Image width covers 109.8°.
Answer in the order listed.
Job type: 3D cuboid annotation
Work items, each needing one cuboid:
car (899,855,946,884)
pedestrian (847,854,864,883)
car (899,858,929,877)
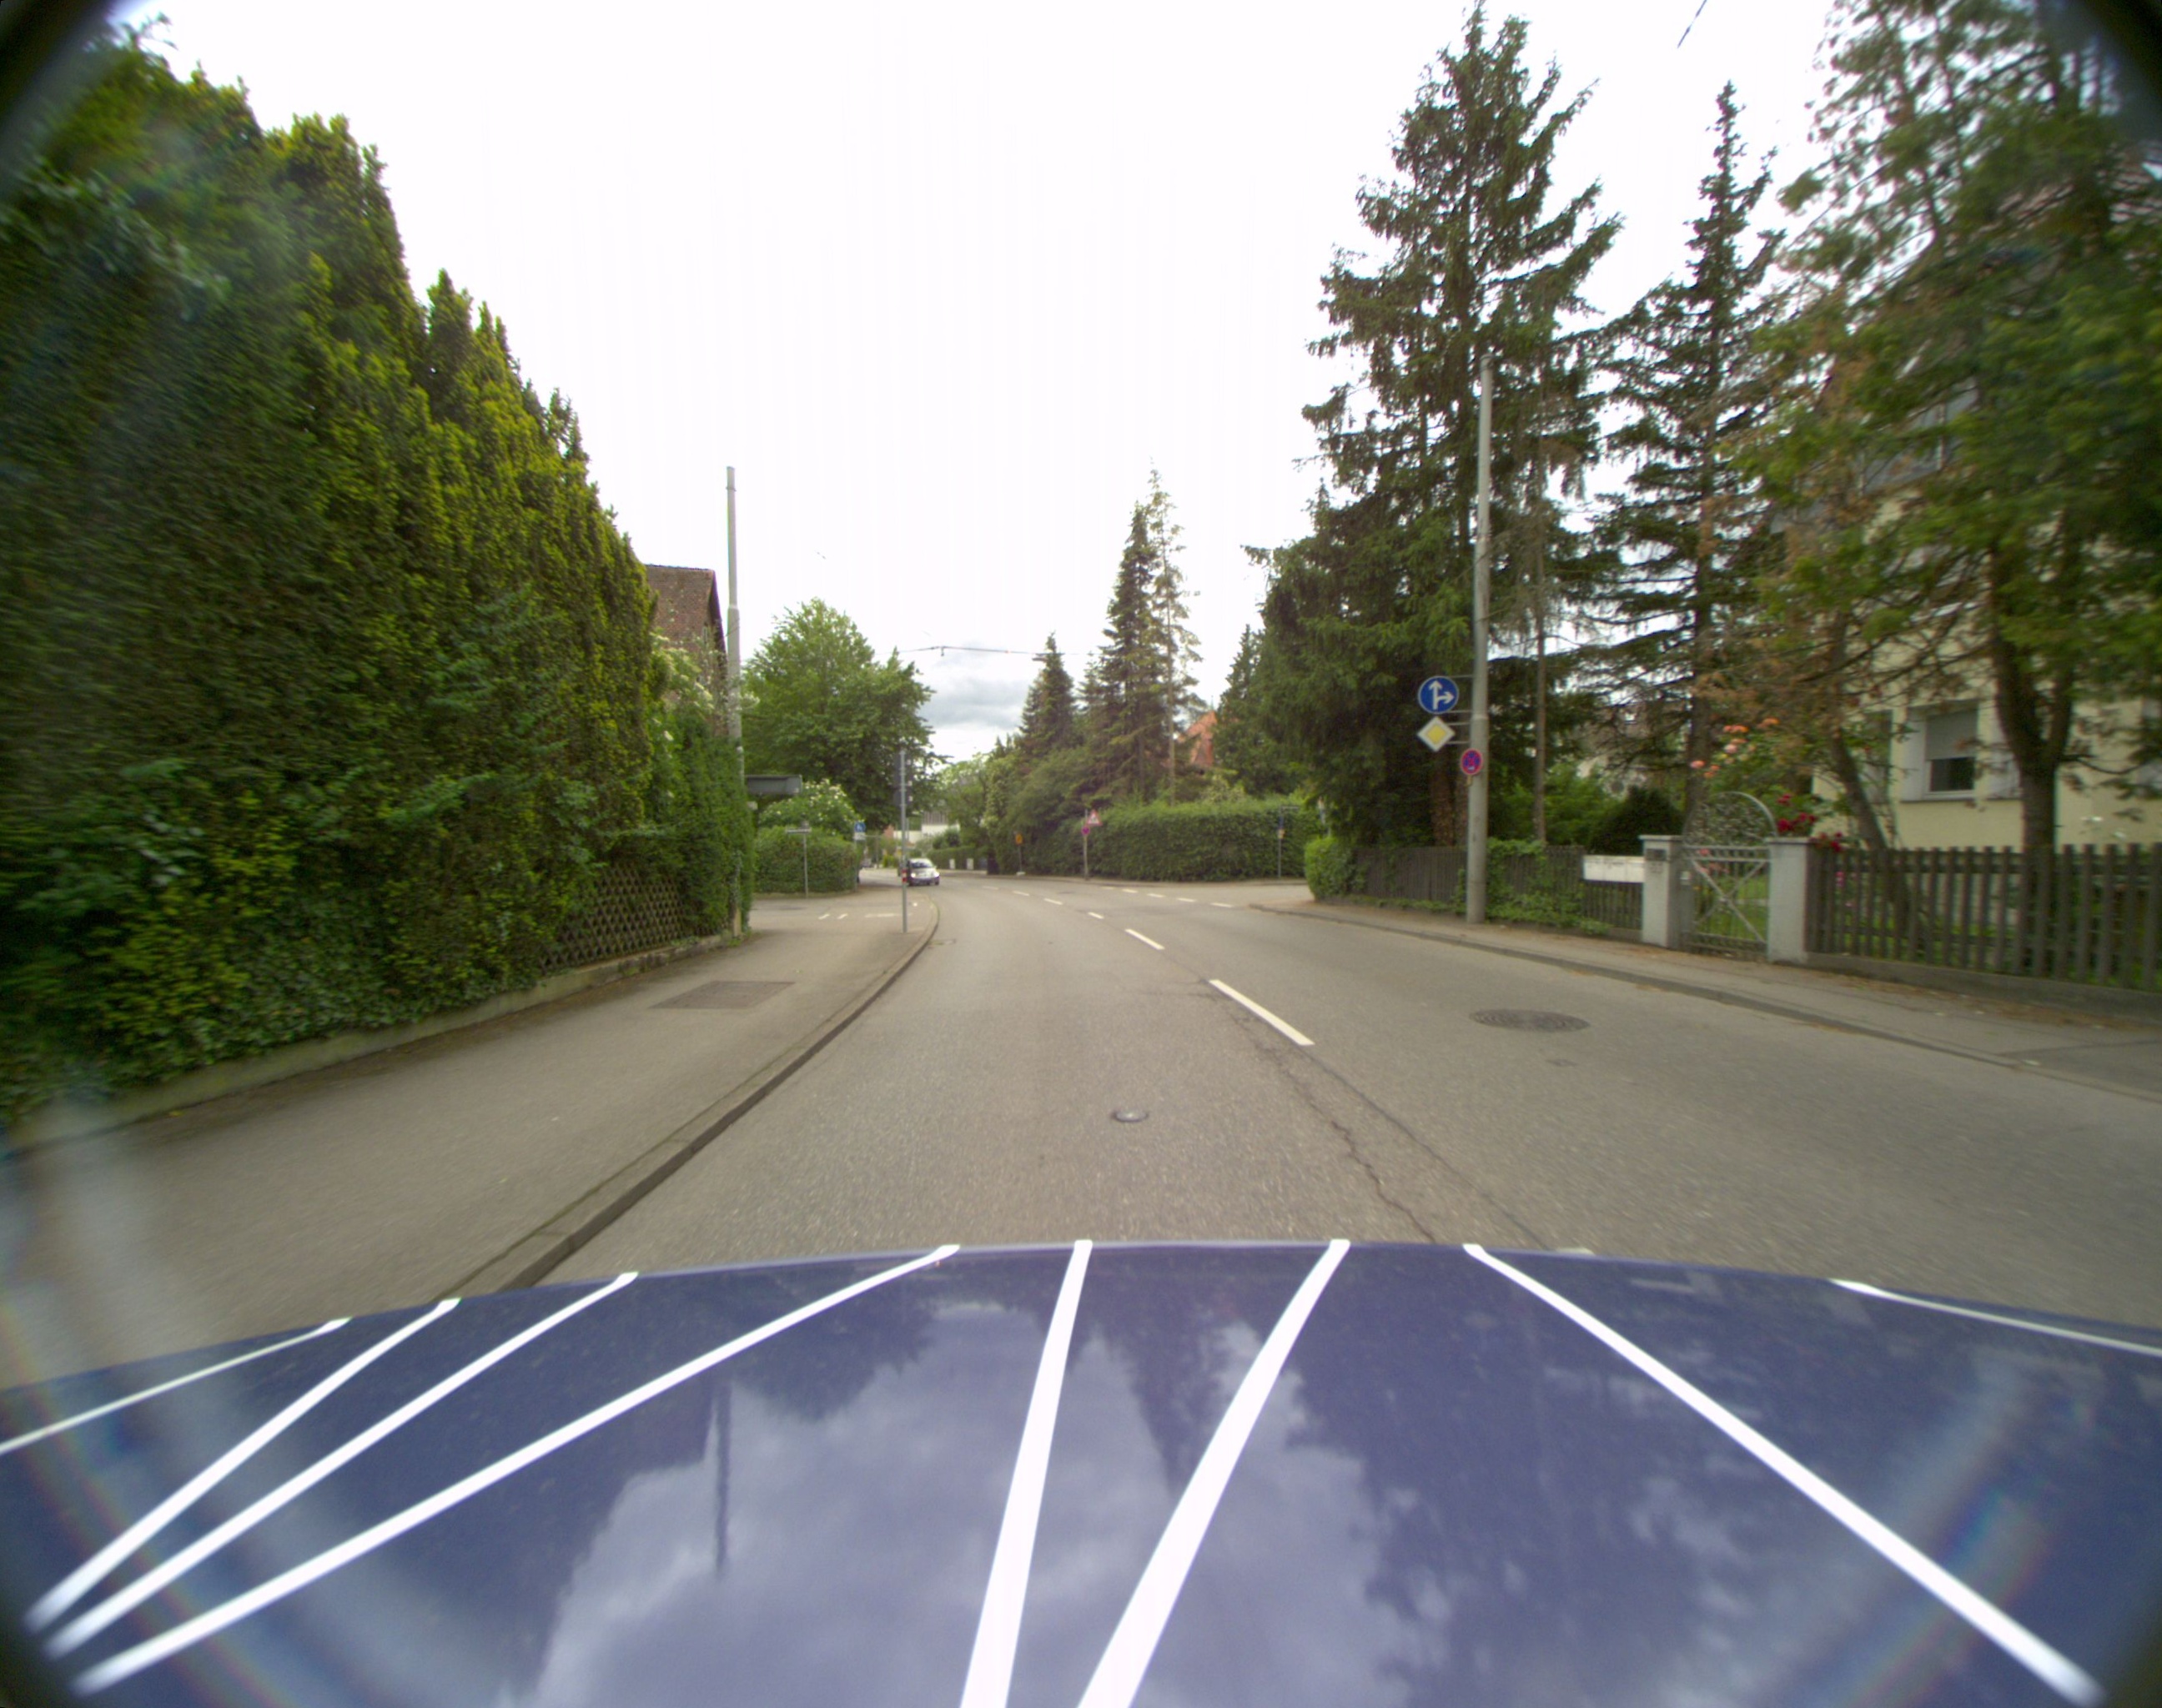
[{"bbox_3d":[-9.428,0.905,45.100,2.002,1.587,3.992,-2,0,-22],"label":"car"},{"bbox_3d":[-14.223,0.926,47.902,0.671,1.796,0.692,-1,1,24],"label":"pedestrian"},{"bbox_3d":[-15.185,1.196,69.043,1.764,1.431,4.084,-4,2,-24],"label":"car"}]
